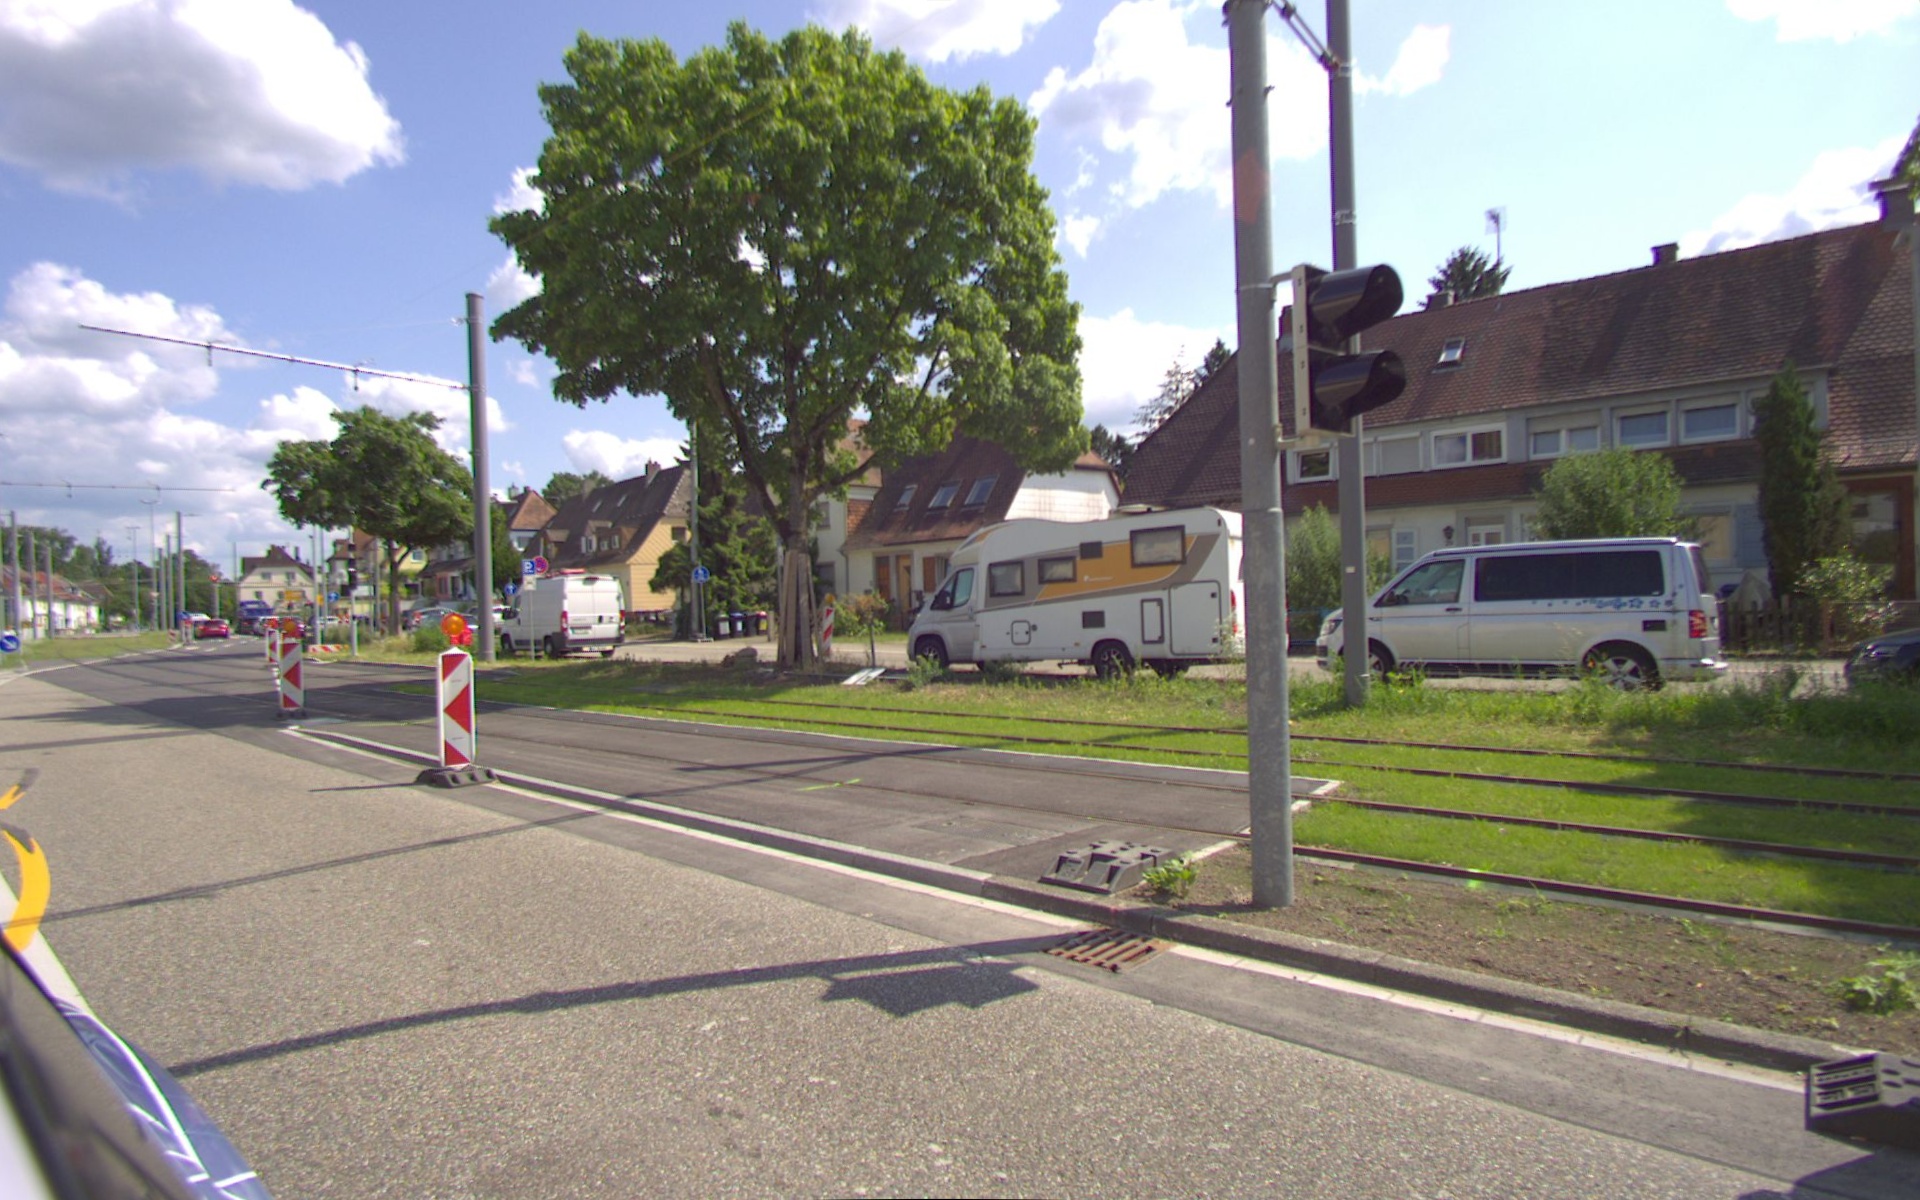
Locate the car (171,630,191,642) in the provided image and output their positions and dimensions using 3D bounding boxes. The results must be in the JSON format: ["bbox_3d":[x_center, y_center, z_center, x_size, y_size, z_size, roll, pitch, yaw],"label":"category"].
[{"bbox_3d":[-130.884,5.963,169.978,2.248,1.887,4.999,-2,0,-33],"label":"car"}]

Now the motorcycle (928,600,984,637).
[{"bbox_3d":[-0.164,0.671,36.585,1.993,1.282,0.572,-2,0,30],"label":"motorcycle"}]

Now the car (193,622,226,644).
[{"bbox_3d":[-56.354,2.472,75.994,1.704,1.574,4.549,-2,0,-40],"label":"car"}]

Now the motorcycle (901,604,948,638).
[{"bbox_3d":[-1.274,0.760,36.293,1.792,1.178,0.491,-2,0,41],"label":"motorcycle"}]

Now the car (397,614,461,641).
[{"bbox_3d":[-40.763,2.109,77.736,3.940,1.859,1.804,-2,0,-44],"label":"car"}]

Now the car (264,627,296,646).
[{"bbox_3d":[-50.504,2.679,75.137,1.703,1.345,4.551,-2,0,-38],"label":"car"}]

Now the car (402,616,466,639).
[{"bbox_3d":[-39.022,2.010,75.116,3.833,1.567,1.683,-2,0,-44],"label":"car"}]

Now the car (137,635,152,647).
[{"bbox_3d":[-152.733,7.607,189.569,2.028,2.023,4.960,-1,0,-37],"label":"car"}]

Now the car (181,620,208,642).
[{"bbox_3d":[-69.738,2.797,92.162,1.704,1.868,4.548,-2,0,-41],"label":"car"}]

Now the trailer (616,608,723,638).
[{"bbox_3d":[-15.677,1.205,54.807,5.192,1.404,2.026,-2,0,-42],"label":"trailer"}]

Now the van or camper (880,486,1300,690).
[{"bbox_3d":[2.013,-0.103,18.067,7.291,2.992,2.351,-2,-1,40],"label":"van or camper"}]

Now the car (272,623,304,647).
[{"bbox_3d":[-46.248,2.377,69.604,1.702,1.538,4.782,-2,0,-35],"label":"car"}]

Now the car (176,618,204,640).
[{"bbox_3d":[-74.687,2.804,98.153,1.894,1.979,4.548,-2,0,-41],"label":"car"}]

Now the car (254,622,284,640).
[{"bbox_3d":[-55.043,2.446,80.609,1.703,1.345,4.551,-2,0,-38],"label":"car"}]

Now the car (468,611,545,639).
[{"bbox_3d":[-27.752,1.531,61.956,1.760,1.556,3.908,-2,0,41],"label":"car"}]

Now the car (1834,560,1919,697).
[{"bbox_3d":[11.674,0.232,9.735,4.810,1.397,1.831,-2,0,45],"label":"car"}]

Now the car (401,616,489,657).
[{"bbox_3d":[-20.148,1.405,39.486,1.673,1.476,4.758,-2,0,-45],"label":"car"}]

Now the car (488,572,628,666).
[{"bbox_3d":[-12.628,0.580,31.639,4.916,2.688,2.130,-2,0,43],"label":"car"}]

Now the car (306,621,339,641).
[{"bbox_3d":[-52.711,2.568,83.619,1.704,1.574,4.549,-2,0,-40],"label":"car"}]

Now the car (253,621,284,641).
[{"bbox_3d":[-58.884,2.661,86.174,1.704,1.574,4.549,-2,0,-40],"label":"car"}]

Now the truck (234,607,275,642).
[{"bbox_3d":[-68.098,2.322,97.631,2.799,3.178,7.950,-2,0,-38],"label":"truck"}]

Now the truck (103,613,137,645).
[{"bbox_3d":[-144.515,4.938,174.306,3.422,5.223,14.251,-2,0,-36],"label":"truck"}]

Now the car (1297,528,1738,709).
[{"bbox_3d":[7.361,0.243,13.697,4.901,2.029,1.973,-2,0,41],"label":"car"}]
